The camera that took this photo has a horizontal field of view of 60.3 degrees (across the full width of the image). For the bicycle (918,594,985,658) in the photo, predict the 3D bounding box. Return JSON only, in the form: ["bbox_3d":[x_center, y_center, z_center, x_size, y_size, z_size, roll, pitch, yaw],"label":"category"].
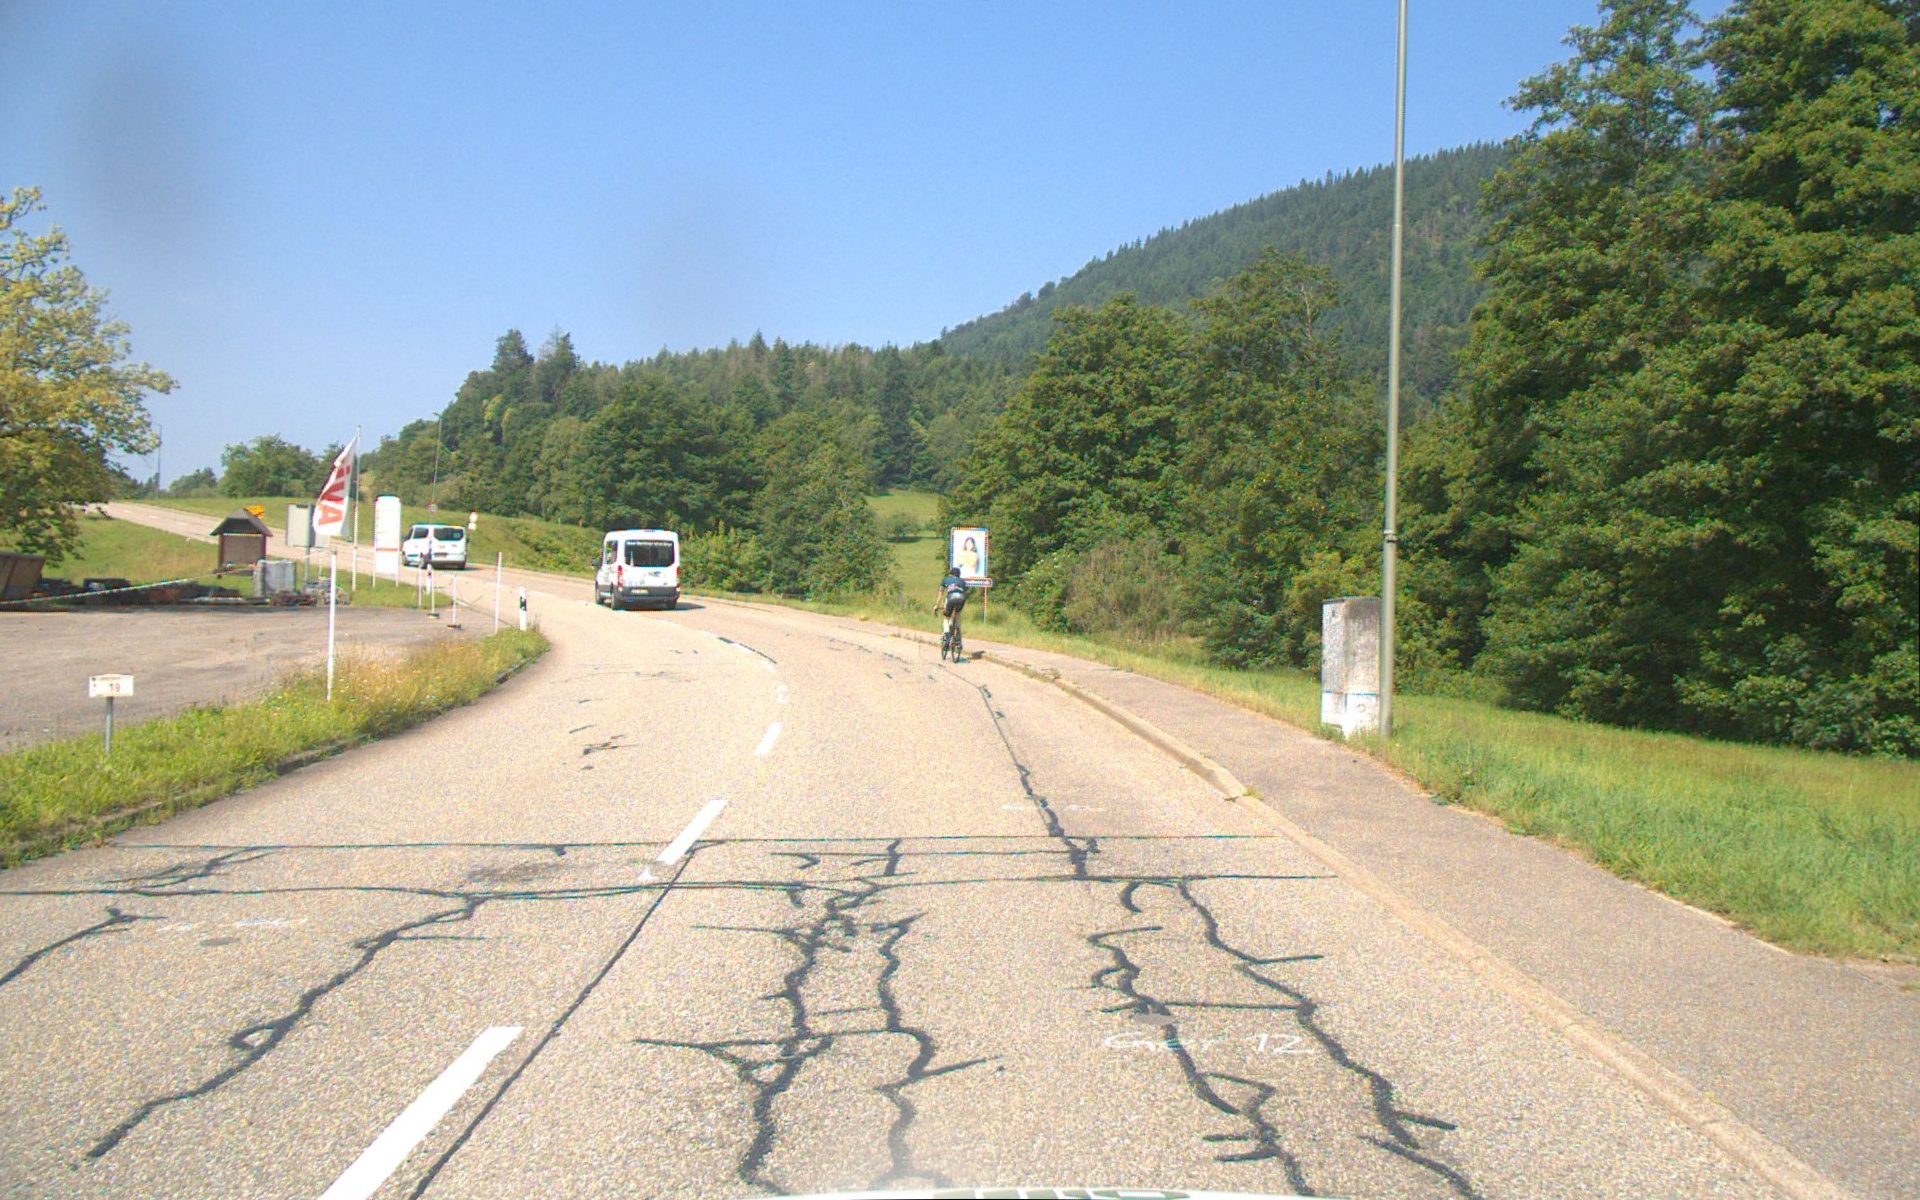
[{"bbox_3d":[-0.173,0.442,29.647,0.571,1.053,1.979,-2,2,-20],"label":"bicycle"}]

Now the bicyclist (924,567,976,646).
[{"bbox_3d":[-0.192,0.101,29.467,0.571,1.366,1.139,-1,2,-20],"label":"bicyclist"}]

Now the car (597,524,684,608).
[{"bbox_3d":[-10.290,-1.157,52.976,2.188,2.569,4.961,-1,3,-17],"label":"car"}]

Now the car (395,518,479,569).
[{"bbox_3d":[-24.507,-2.677,77.343,2.207,2.326,4.919,-2,3,-37],"label":"car"}]
